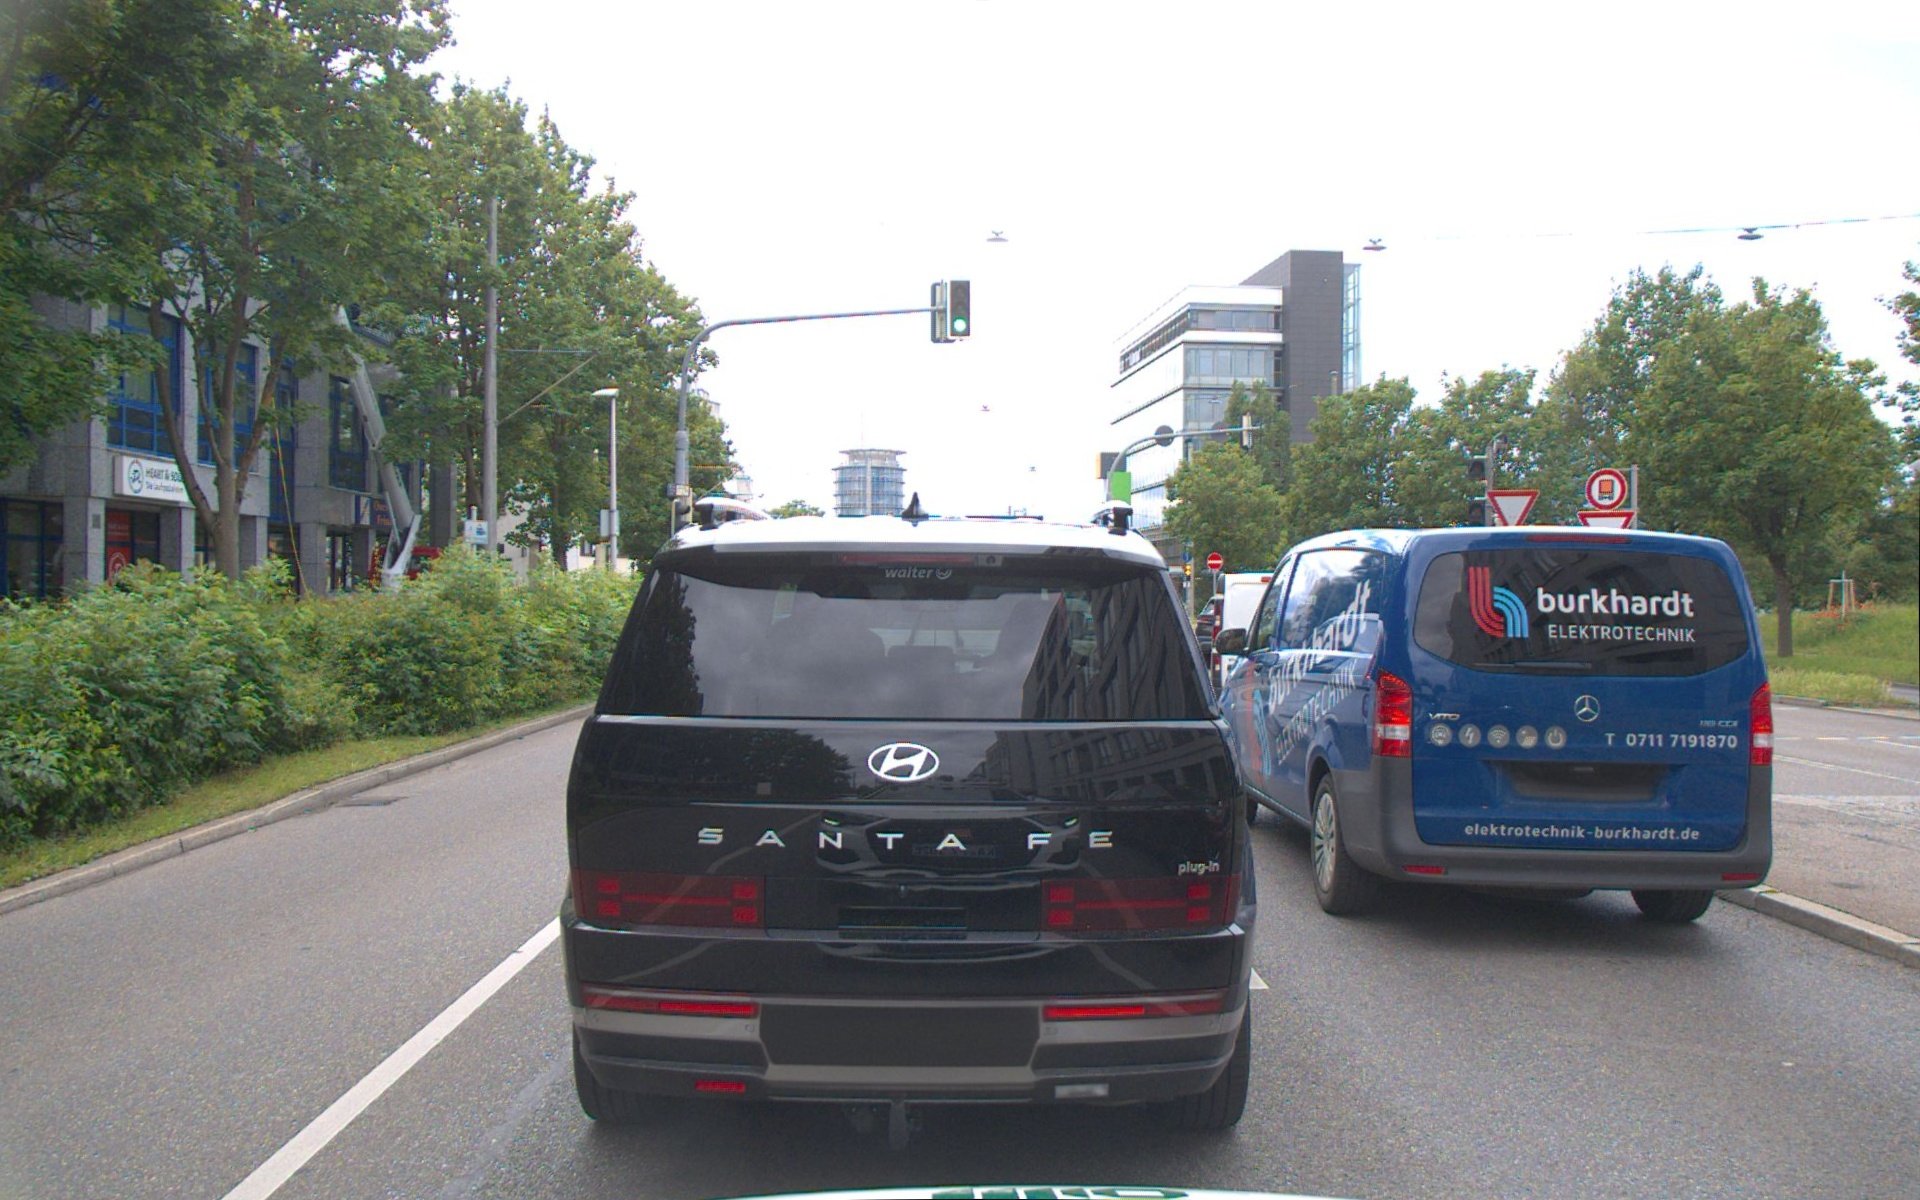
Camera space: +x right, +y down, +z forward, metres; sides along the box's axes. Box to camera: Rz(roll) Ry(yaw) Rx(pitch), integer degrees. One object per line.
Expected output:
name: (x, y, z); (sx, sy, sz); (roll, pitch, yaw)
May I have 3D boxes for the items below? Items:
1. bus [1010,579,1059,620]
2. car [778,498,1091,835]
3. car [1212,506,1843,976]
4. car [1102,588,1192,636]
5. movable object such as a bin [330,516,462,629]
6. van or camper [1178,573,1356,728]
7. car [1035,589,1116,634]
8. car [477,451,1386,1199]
bus: (5.938, 0.019, 133.459); (2.908, 3.171, 9.236); (-1, 0, -4)
car: (-0.016, 0.396, 12.450); (1.862, 2.003, 4.638); (2, 0, 3)
car: (2.717, 0.574, 9.219); (1.863, 1.891, 4.709); (2, 0, 0)
car: (6.757, 0.417, 60.210); (1.856, 1.591, 4.381); (2, 1, -13)
movable object such as a bin: (-13.743, -0.650, 40.574); (1.866, 2.576, 4.126); (1, 0, -2)
van or camper: (4.239, 0.613, 23.496); (1.952, 1.951, 4.411); (1, 1, 4)
car: (4.063, 0.387, 58.778); (1.751, 1.450, 4.384); (2, 1, -11)
car: (-0.088, 0.586, 5.694); (1.863, 1.762, 4.445); (2, 0, -1)
